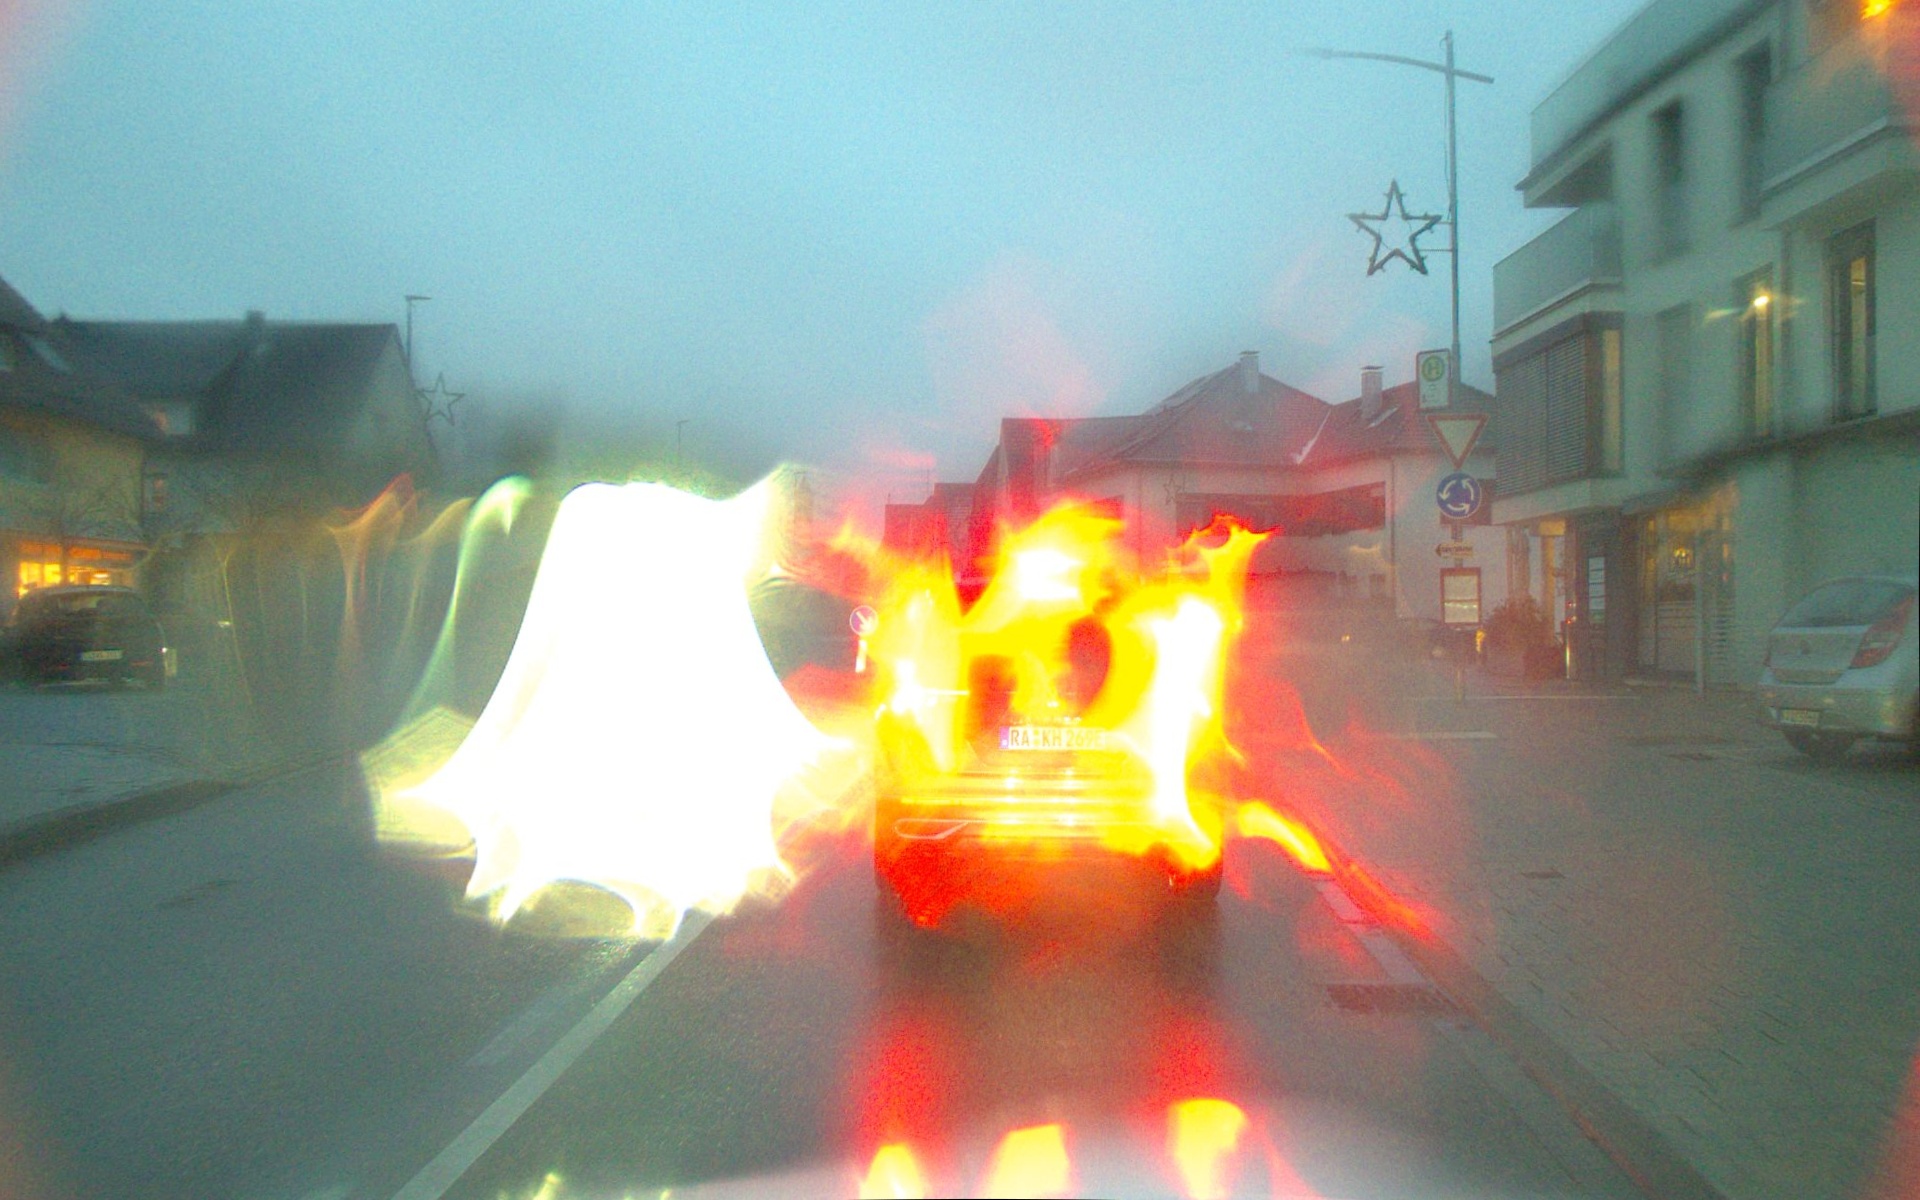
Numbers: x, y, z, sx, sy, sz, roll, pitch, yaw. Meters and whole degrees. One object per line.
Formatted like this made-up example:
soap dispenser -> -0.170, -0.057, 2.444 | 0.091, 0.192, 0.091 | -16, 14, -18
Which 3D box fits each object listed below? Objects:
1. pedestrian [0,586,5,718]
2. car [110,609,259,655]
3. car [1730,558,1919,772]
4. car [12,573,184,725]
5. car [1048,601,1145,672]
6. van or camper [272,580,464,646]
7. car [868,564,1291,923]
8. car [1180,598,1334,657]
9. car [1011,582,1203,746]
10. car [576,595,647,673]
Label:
pedestrian -> -12.943, 0.691, 21.831 | 0.490, 1.731, 0.707 | -2, 0, -27
car -> -24.686, 1.012, 52.751 | 3.908, 1.388, 1.726 | 0, 0, -4
car -> 8.403, 0.369, 12.712 | 4.125, 1.485, 1.791 | -3, 0, -6
car -> -12.261, 0.629, 23.640 | 2.013, 1.959, 4.021 | 0, 0, -27
car -> 2.952, 0.730, 35.329 | 1.951, 1.416, 4.003 | 0, 0, 6
van or camper -> -18.440, 0.412, 51.605 | 5.412, 1.989, 2.002 | 0, 0, 13
car -> 0.563, 0.657, 9.808 | 1.924, 1.622, 4.313 | 1, 0, 0
car -> 7.693, 0.700, 42.695 | 3.969, 1.443, 1.968 | 0, -2, -44
car -> 1.414, 0.583, 17.230 | 1.648, 1.478, 4.000 | 1, 0, 0
car -> -10.638, 1.014, 50.621 | 1.958, 2.242, 4.405 | 2, -1, -11
